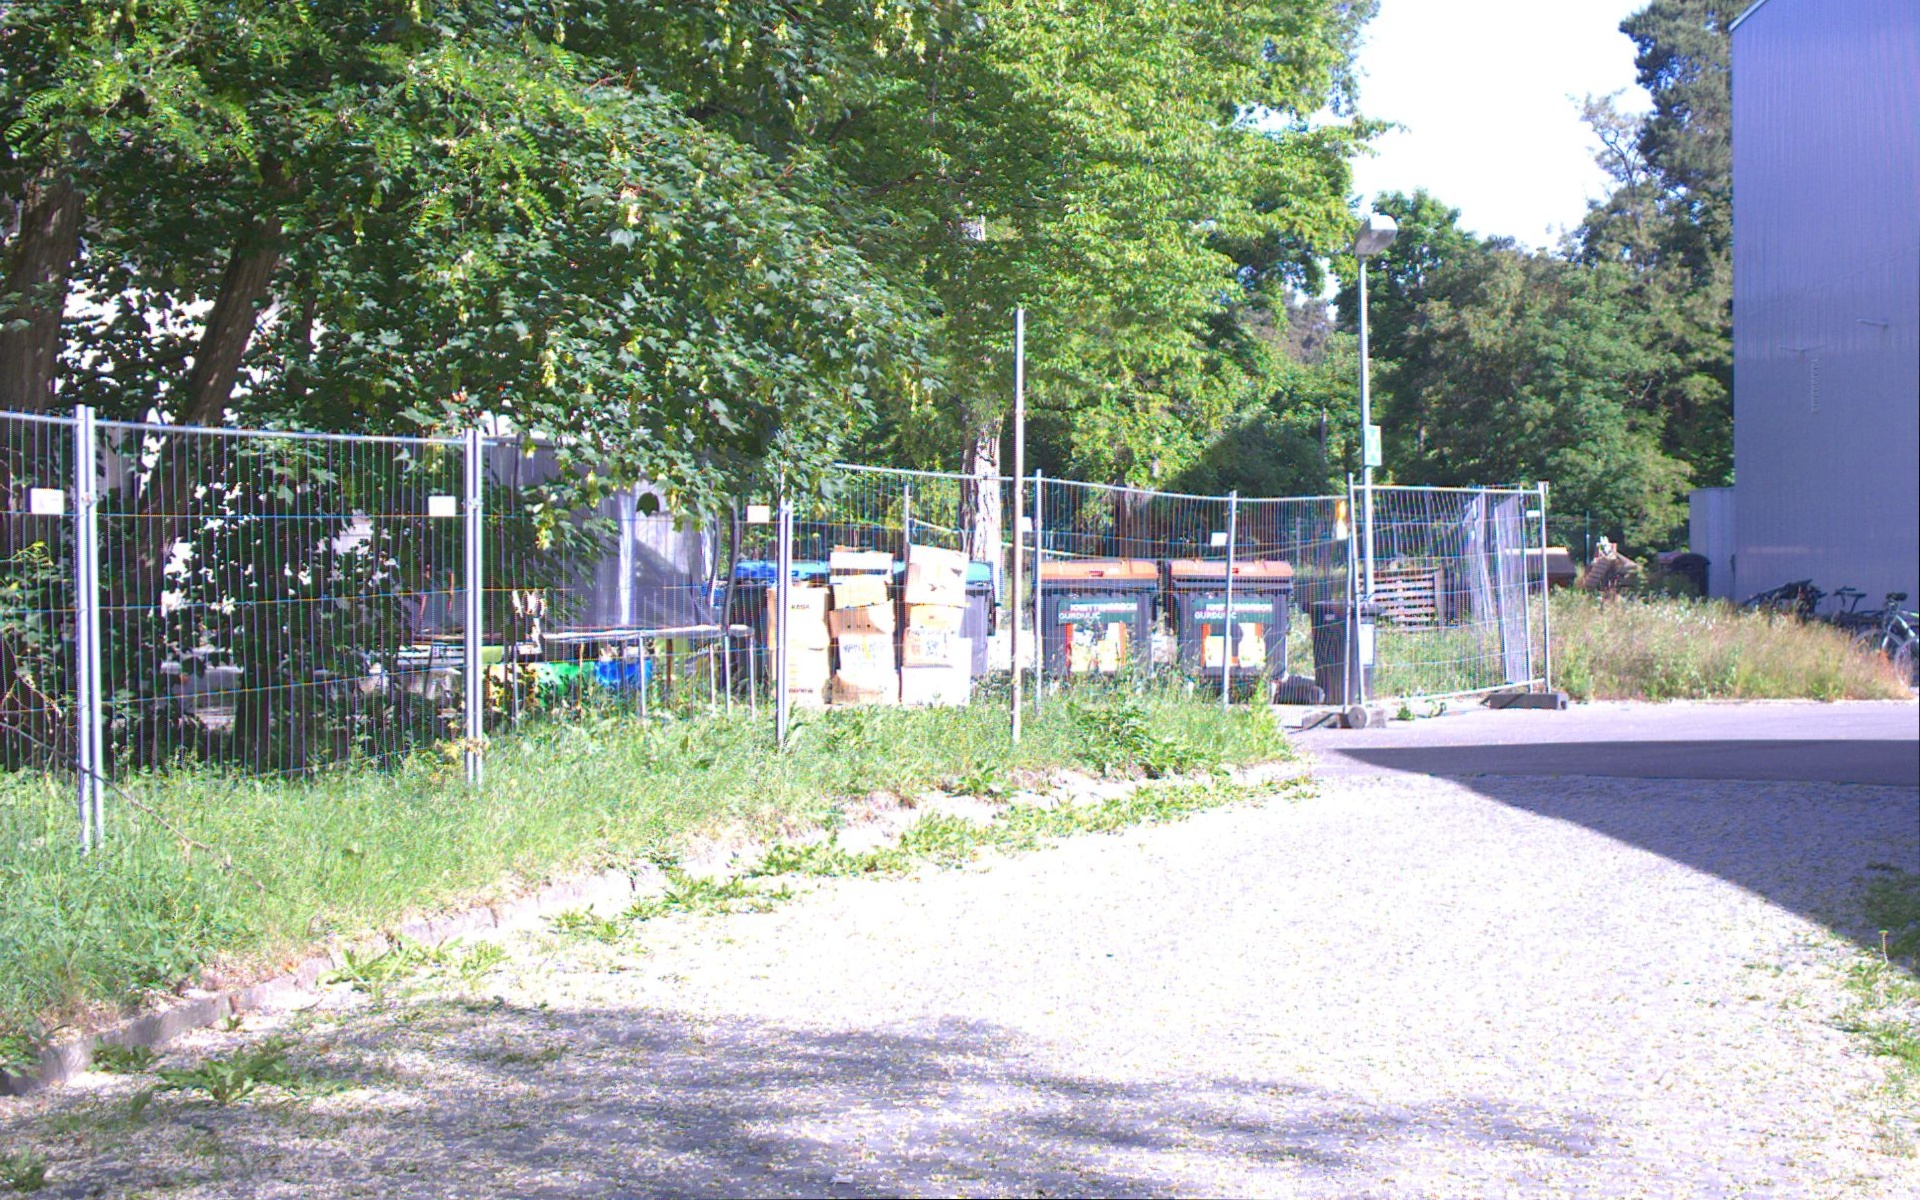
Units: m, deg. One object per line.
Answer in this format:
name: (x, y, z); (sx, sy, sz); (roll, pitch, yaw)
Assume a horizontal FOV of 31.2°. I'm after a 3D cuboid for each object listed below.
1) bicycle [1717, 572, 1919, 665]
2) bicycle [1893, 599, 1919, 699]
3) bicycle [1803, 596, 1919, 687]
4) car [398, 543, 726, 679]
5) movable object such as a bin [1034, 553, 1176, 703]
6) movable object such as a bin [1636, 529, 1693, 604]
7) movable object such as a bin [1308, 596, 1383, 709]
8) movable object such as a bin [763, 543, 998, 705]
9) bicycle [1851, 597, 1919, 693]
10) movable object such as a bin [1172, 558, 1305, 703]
bicycle: (11.851, 0.254, 47.465); (2.631, 1.262, 1.140); (0, 1, 7)
bicycle: (10.938, 0.515, 36.752); (1.799, 1.058, 0.459); (0, 1, -2)
bicycle: (11.281, 0.497, 41.864); (1.888, 1.091, 0.526); (0, 0, 2)
car: (-5.938, 0.160, 51.711); (4.709, 1.896, 2.000); (-1, 0, -1)
movable object such as a bin: (1.442, 0.274, 34.411); (1.337, 1.479, 0.807); (0, 1, -4)
movable object such as a bin: (19.052, -0.901, 92.977); (1.419, 2.007, 1.125); (0, 1, 7)
movable object such as a bin: (3.831, 0.517, 34.199); (0.736, 1.094, 0.819); (0, 1, 6)
movable object such as a bin: (-0.807, 0.226, 34.206); (2.288, 1.586, 1.175); (0, 1, -3)
bicycle: (11.146, 0.510, 39.316); (1.792, 1.079, 0.524); (0, 1, 4)
movable object such as a bin: (2.782, 0.297, 34.383); (1.244, 1.439, 0.703); (0, 0, -3)
